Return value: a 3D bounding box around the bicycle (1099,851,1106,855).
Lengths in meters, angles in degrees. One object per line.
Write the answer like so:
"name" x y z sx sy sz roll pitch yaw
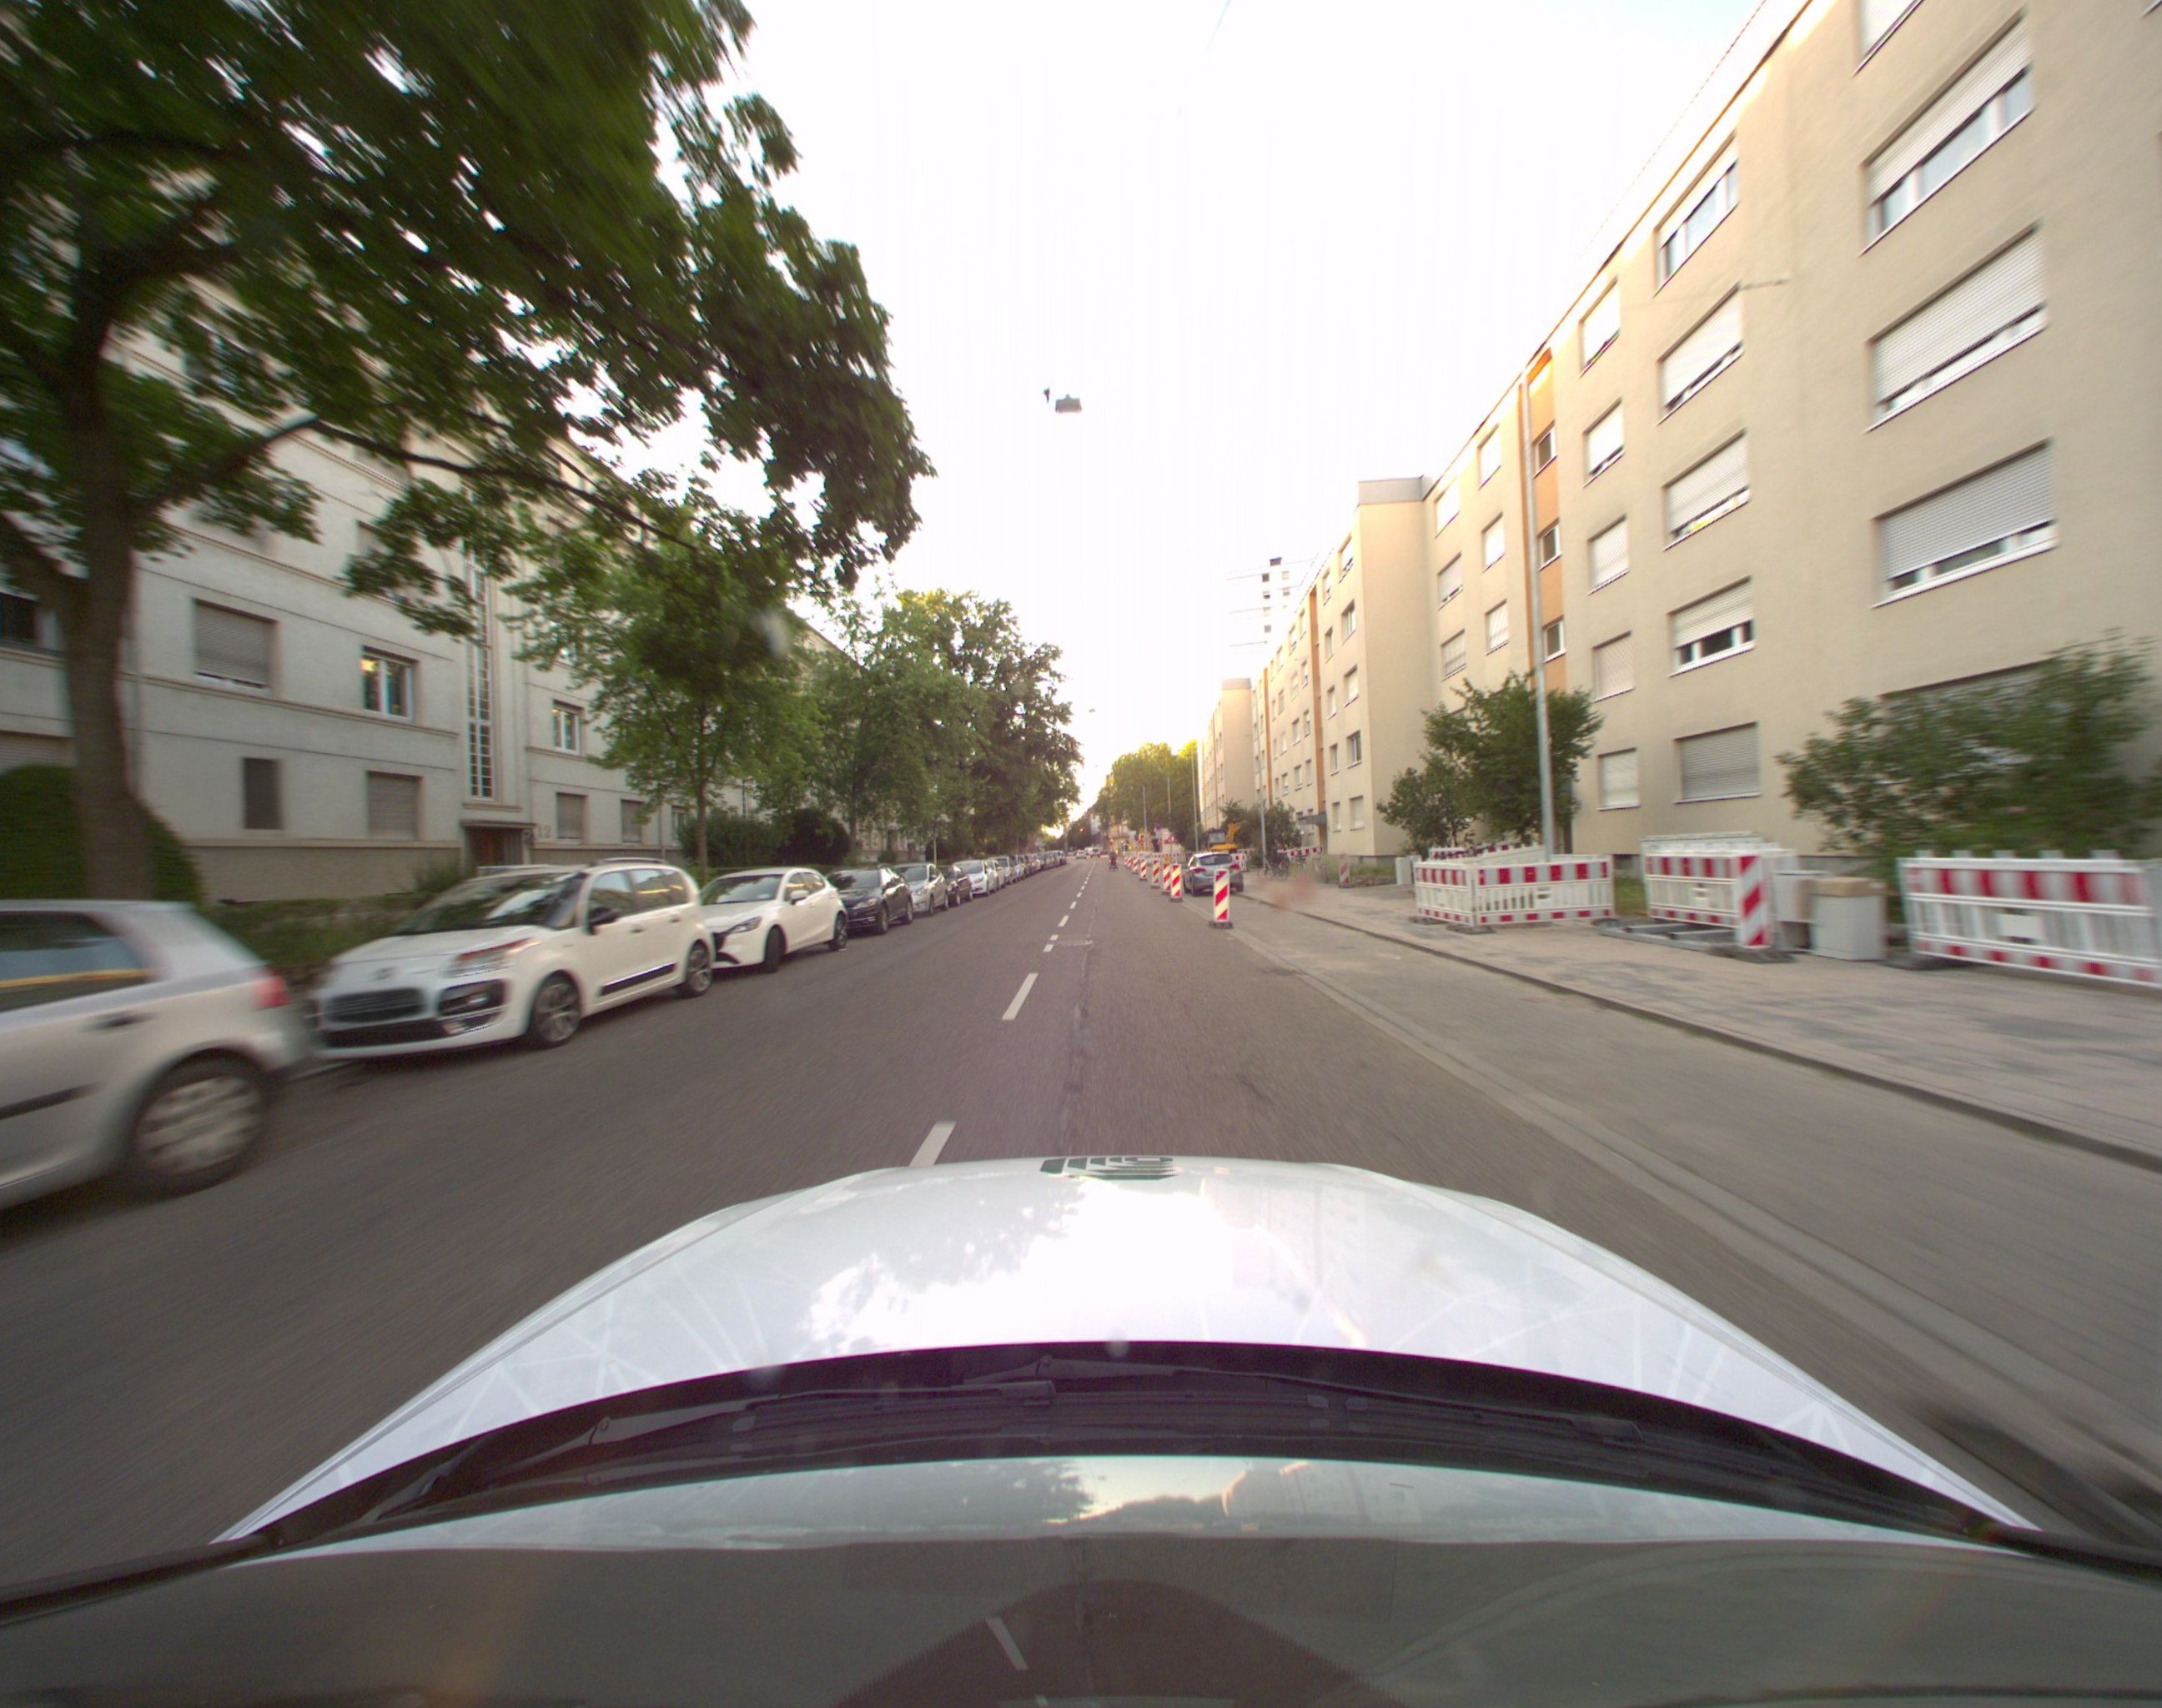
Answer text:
"bicycle" 5.930 -0.289 220.794 1.909 0.968 0.545 -2 0 -1

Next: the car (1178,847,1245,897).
"car" 4.651 0.592 29.700 1.769 1.490 4.576 -6 0 2

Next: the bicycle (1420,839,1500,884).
"bicycle" 10.025 0.196 21.559 1.742 0.986 0.559 -7 -1 10

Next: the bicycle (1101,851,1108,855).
"bicycle" 6.451 -0.176 221.701 1.900 0.968 0.548 -2 0 15

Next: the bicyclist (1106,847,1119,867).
"bicyclist" 2.576 0.254 66.762 0.937 1.581 1.145 -5 0 -2

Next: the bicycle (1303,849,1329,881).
"bicycle" 8.913 0.402 30.885 0.553 1.172 1.819 -2 0 4

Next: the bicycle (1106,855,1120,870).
"bicycle" 2.609 0.711 66.910 0.937 1.172 2.357 -5 0 -2

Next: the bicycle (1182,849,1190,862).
"bicycle" 9.757 0.139 75.391 0.450 1.222 1.910 -2 0 -1

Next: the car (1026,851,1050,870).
"car" -3.734 0.572 71.153 1.701 1.452 3.844 -5 0 2

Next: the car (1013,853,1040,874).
"car" -4.078 0.704 61.350 1.584 1.404 4.182 -5 0 1

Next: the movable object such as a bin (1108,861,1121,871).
"movable object such as a bin" 2.669 0.935 65.231 0.937 0.689 0.992 -5 0 -2

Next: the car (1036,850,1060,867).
"car" -3.208 0.433 80.371 1.724 1.497 4.277 -4 0 6

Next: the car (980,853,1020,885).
"car" -4.325 0.796 44.164 1.584 1.505 3.800 -5 0 1

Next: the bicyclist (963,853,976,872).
"bicyclist" -8.369 0.664 61.166 0.805 1.404 0.974 -1 0 1

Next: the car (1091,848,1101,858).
"car" 2.956 -0.167 164.888 1.860 1.815 3.999 -3 0 0

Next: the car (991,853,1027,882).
"car" -4.221 0.751 48.342 1.583 1.529 2.924 -5 0 3

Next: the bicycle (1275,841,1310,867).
"bicycle" 10.411 -0.022 40.055 1.590 1.222 0.484 -2 0 -6

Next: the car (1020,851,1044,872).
"car" -3.997 0.626 66.760 1.585 1.538 4.205 -5 0 -1

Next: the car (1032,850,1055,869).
"car" -3.484 0.470 75.568 1.701 1.600 4.118 -5 0 1

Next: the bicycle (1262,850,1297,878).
"bicycle" 8.497 0.413 34.968 0.627 1.172 1.807 -2 0 -15

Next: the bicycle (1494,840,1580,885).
"bicycle" 10.346 0.206 18.532 0.559 0.865 1.600 -6 -1 -26

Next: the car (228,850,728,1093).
"car" -5.335 0.863 8.059 1.747 1.631 4.107 -5 0 0

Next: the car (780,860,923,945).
"car" -4.915 0.957 18.173 1.747 1.479 4.677 -5 0 0

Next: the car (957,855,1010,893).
"car" -4.422 0.865 37.584 1.686 1.459 4.484 -5 0 1

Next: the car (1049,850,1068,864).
"car" -2.752 0.331 100.927 1.947 1.616 4.606 -4 0 1

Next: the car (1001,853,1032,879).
"car" -4.152 0.754 52.928 1.585 1.466 4.101 -5 0 0

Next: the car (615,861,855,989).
"car" -5.083 0.951 12.628 1.745 1.479 3.947 -5 0 3

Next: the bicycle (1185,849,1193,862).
"bicycle" 10.033 0.136 75.478 0.396 1.222 1.910 -2 0 -1

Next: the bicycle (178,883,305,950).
"bicycle" -16.781 1.218 16.349 0.553 1.172 1.819 -2 0 4

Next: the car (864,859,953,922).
"car" -4.801 0.967 23.119 1.670 1.459 3.703 -5 0 -1

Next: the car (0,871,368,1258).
"car" -5.168 0.920 2.642 1.745 1.471 4.227 -5 0 2

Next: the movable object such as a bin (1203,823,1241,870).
"movable object such as a bin" 8.395 -0.441 48.650 1.924 2.693 2.896 -2 0 6

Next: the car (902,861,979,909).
"car" -4.699 0.997 27.876 1.669 1.331 4.580 -5 0 0

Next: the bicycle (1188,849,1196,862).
"bicycle" 10.281 0.132 75.408 0.396 1.222 1.825 -2 0 -1

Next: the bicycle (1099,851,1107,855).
"bicycle" 5.966 -0.174 220.918 1.909 0.968 0.545 -2 0 -1

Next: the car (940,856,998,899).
"car" -4.450 0.890 33.013 1.687 1.459 4.144 -5 0 -1

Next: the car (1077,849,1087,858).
"car" 0.186 -0.079 148.705 1.860 1.585 3.999 -3 0 -1

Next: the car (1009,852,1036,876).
"car" -4.083 0.667 57.201 1.518 1.529 3.164 -5 0 0

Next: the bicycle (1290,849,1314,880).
"bicycle" 8.914 0.406 32.934 0.553 1.172 1.819 -2 0 4

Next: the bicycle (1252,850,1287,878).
"bicycle" 7.968 0.419 34.472 0.557 1.172 1.805 -2 0 -18

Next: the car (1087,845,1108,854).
"car" 4.630 -1.322 227.173 5.855 2.287 2.047 -2 0 -42
